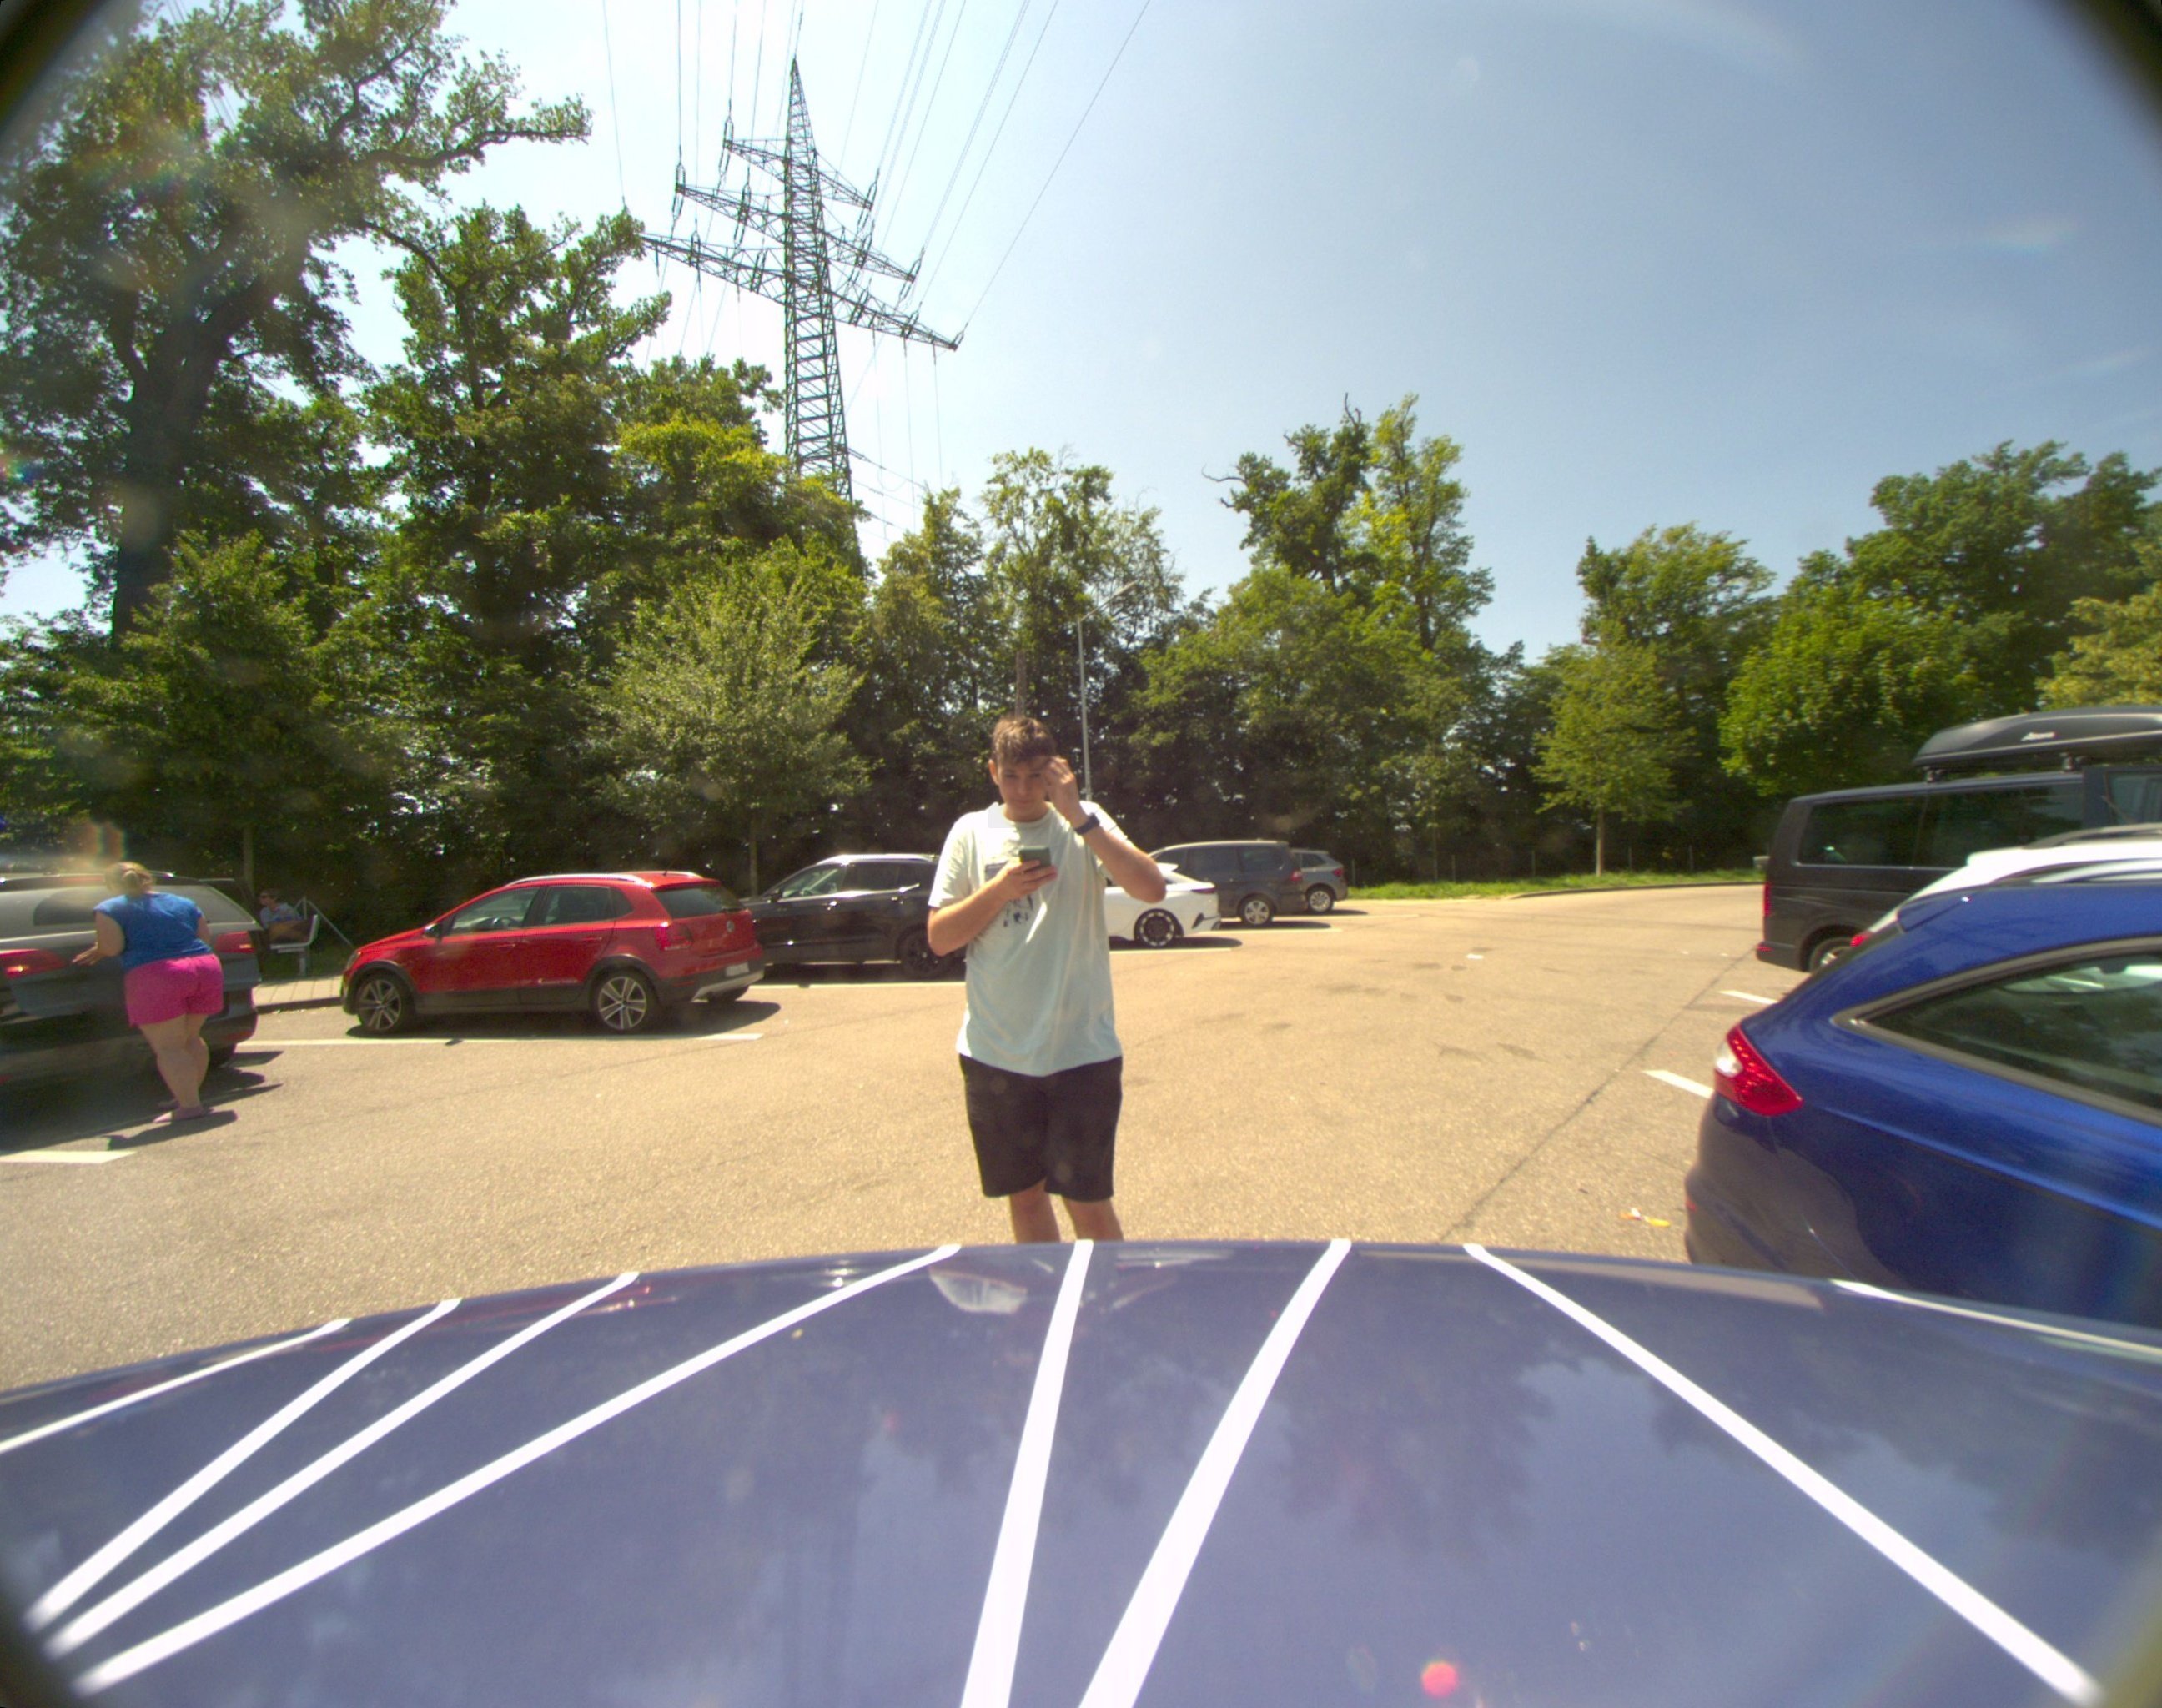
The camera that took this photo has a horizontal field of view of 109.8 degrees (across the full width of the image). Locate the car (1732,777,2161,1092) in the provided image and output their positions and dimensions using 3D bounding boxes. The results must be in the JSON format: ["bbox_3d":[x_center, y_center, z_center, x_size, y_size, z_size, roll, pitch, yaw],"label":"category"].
[{"bbox_3d":[7.302,0.436,4.928,1.961,1.858,4.642,-3,-1,-3],"label":"car"}]

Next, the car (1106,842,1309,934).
[{"bbox_3d":[2.566,0.665,15.466,3.818,1.714,1.722,-1,1,12],"label":"car"}]

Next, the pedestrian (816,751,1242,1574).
[{"bbox_3d":[-0.119,0.695,2.030,0.890,1.831,0.621,-2,1,-3],"label":"pedestrian"}]

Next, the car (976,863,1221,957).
[{"bbox_3d":[0.343,0.897,12.740,3.819,1.377,1.722,-1,1,6],"label":"car"}]

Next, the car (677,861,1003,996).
[{"bbox_3d":[-3.087,0.935,10.274,3.787,1.564,1.721,-1,1,2],"label":"car"}]

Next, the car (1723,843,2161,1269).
[{"bbox_3d":[4.855,0.725,2.298,1.741,1.524,4.642,-3,-1,-2],"label":"car"}]

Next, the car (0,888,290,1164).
[{"bbox_3d":[-8.311,1.105,5.452,3.985,1.572,1.749,-1,1,12],"label":"car"}]

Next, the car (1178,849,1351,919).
[{"bbox_3d":[4.318,0.687,18.169,3.818,1.530,1.722,-1,1,12],"label":"car"}]

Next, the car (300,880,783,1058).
[{"bbox_3d":[-5.259,1.064,7.663,3.785,1.457,1.722,-1,1,9],"label":"car"}]

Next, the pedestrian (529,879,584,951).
[{"bbox_3d":[-10.026,1.135,14.517,0.782,1.287,0.670,-1,2,45],"label":"pedestrian"}]

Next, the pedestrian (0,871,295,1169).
[{"bbox_3d":[-5.935,0.975,4.901,0.734,1.672,0.919,-2,1,-10],"label":"pedestrian"}]

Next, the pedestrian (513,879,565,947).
[{"bbox_3d":[-10.927,1.161,15.325,0.782,1.287,0.670,-1,2,45],"label":"pedestrian"}]
